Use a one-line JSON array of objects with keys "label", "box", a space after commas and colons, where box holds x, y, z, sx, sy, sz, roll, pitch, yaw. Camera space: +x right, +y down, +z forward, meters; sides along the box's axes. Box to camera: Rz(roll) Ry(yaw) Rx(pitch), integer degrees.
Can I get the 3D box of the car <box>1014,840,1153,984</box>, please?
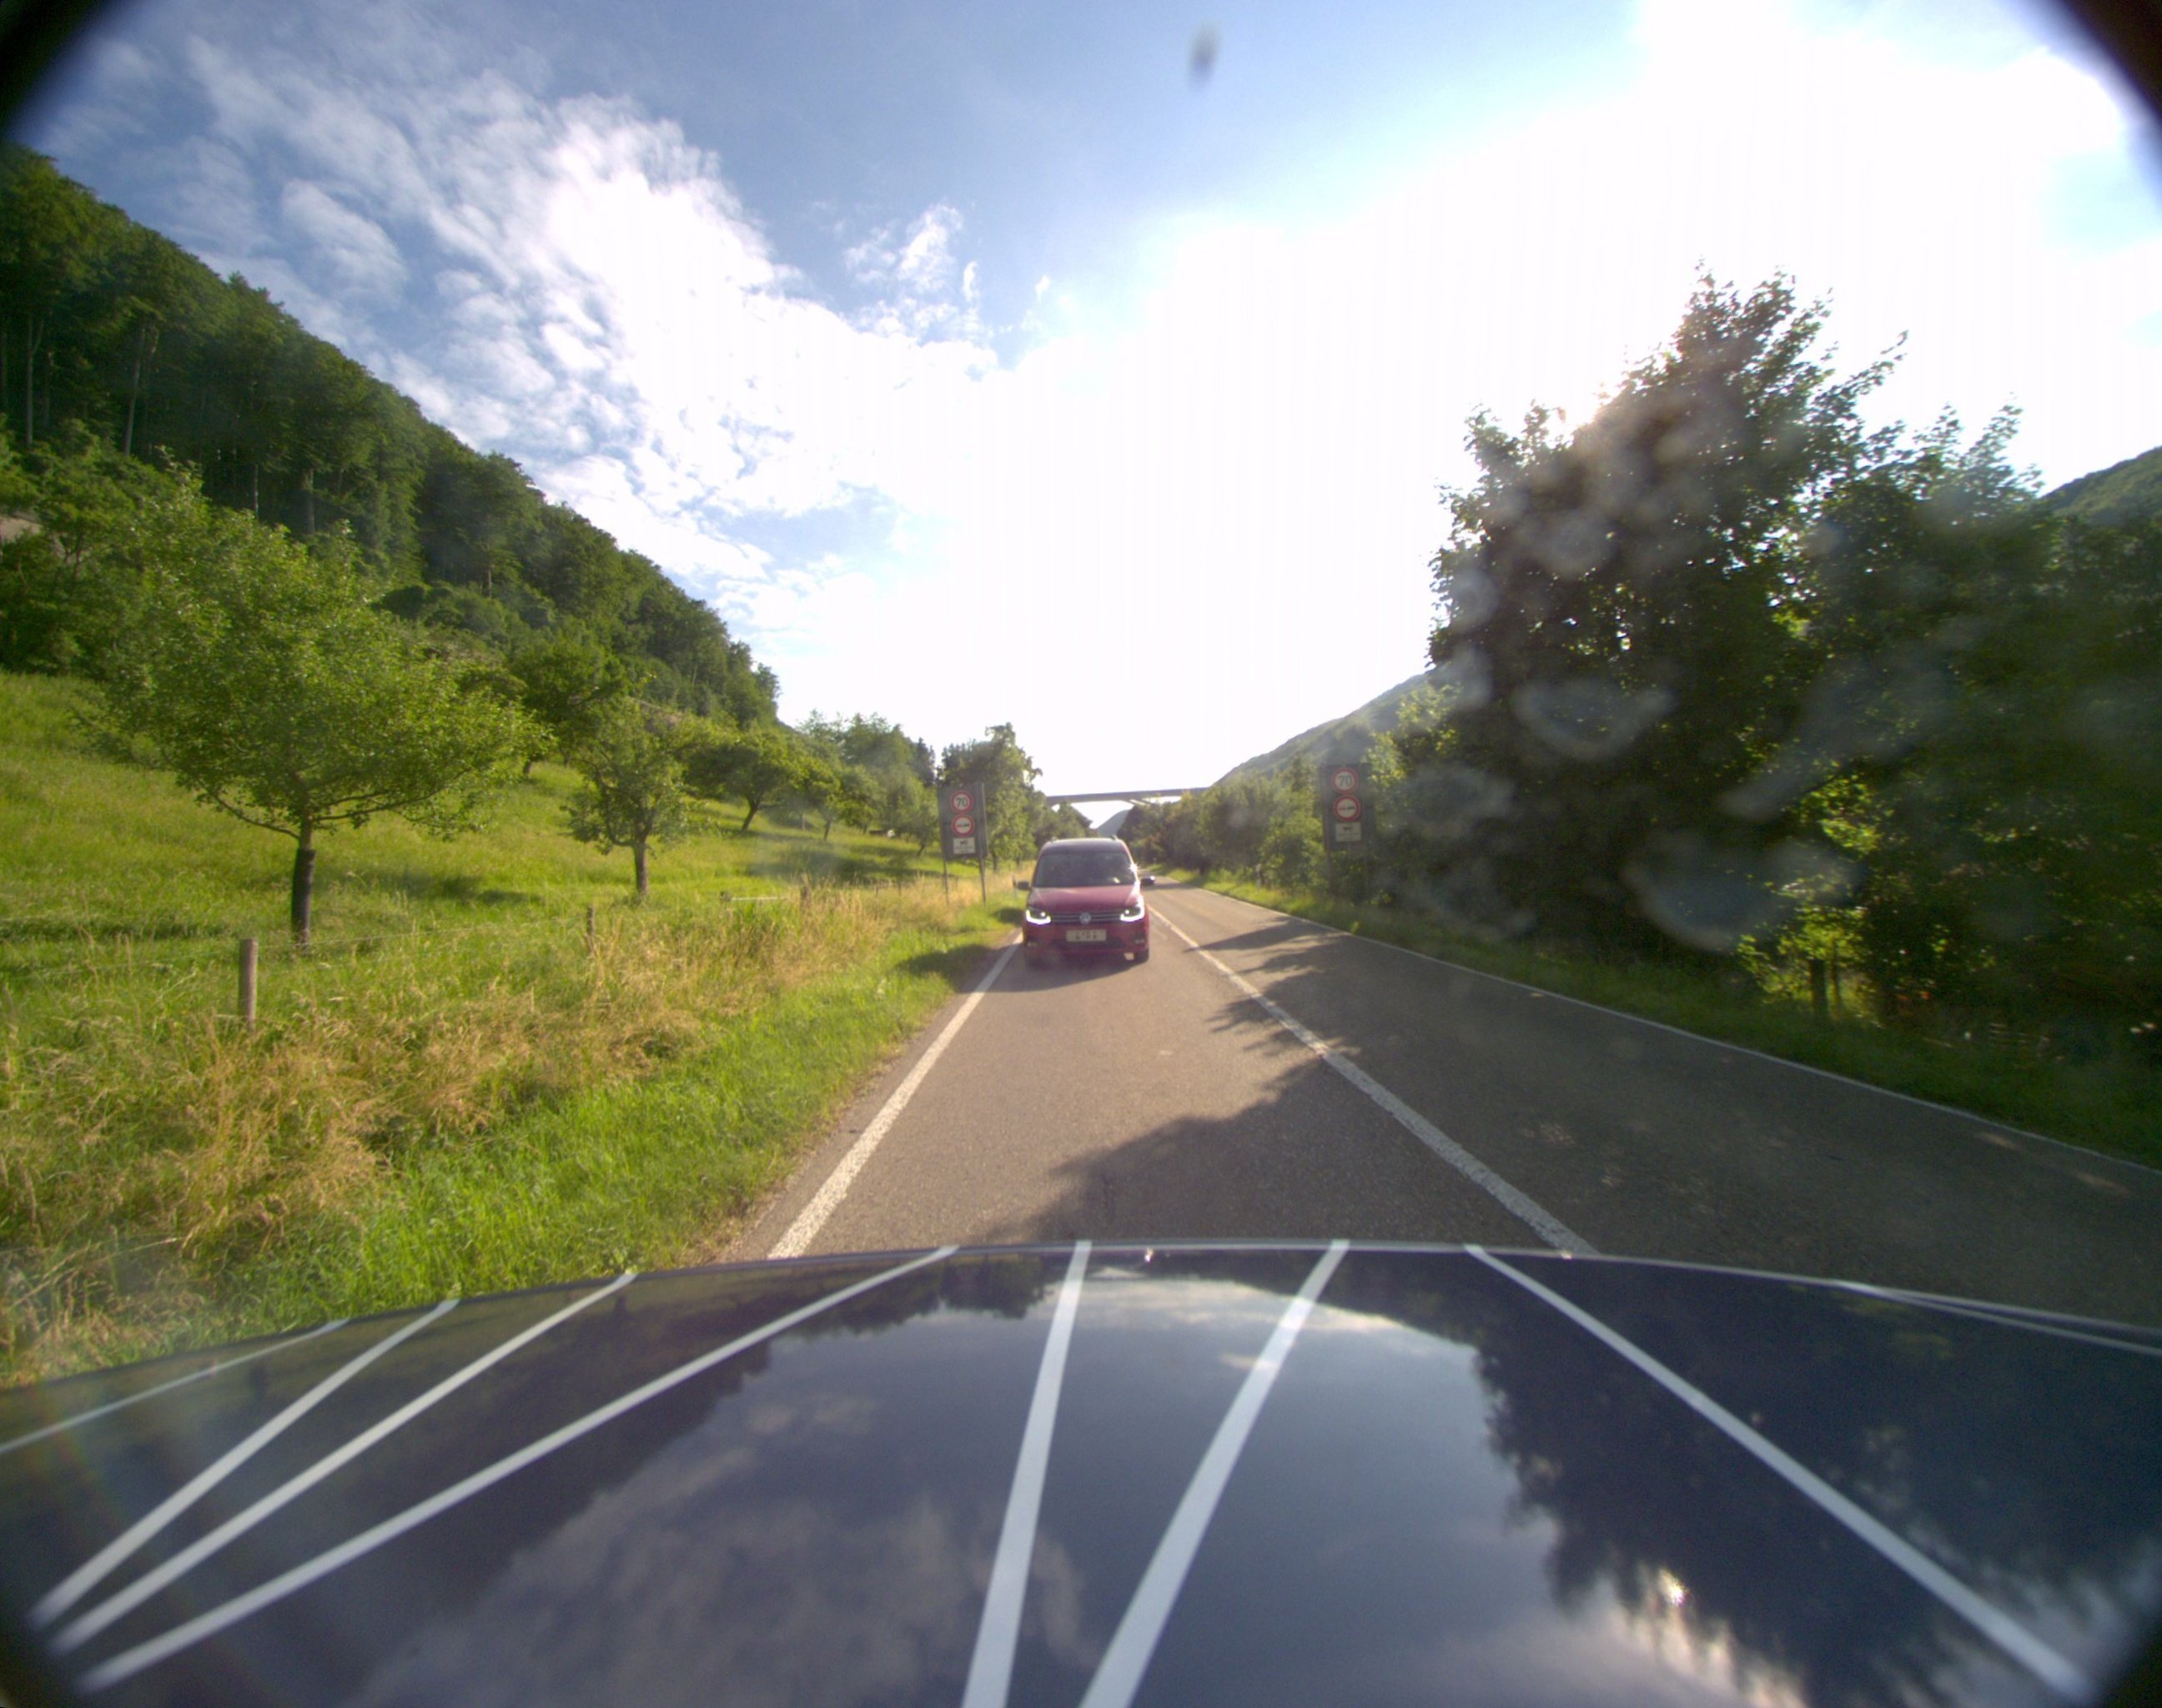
[{"label": "car", "box": [0.030, 0.742, 11.705, 1.741, 1.803, 4.000, -1, 0, 0]}]
